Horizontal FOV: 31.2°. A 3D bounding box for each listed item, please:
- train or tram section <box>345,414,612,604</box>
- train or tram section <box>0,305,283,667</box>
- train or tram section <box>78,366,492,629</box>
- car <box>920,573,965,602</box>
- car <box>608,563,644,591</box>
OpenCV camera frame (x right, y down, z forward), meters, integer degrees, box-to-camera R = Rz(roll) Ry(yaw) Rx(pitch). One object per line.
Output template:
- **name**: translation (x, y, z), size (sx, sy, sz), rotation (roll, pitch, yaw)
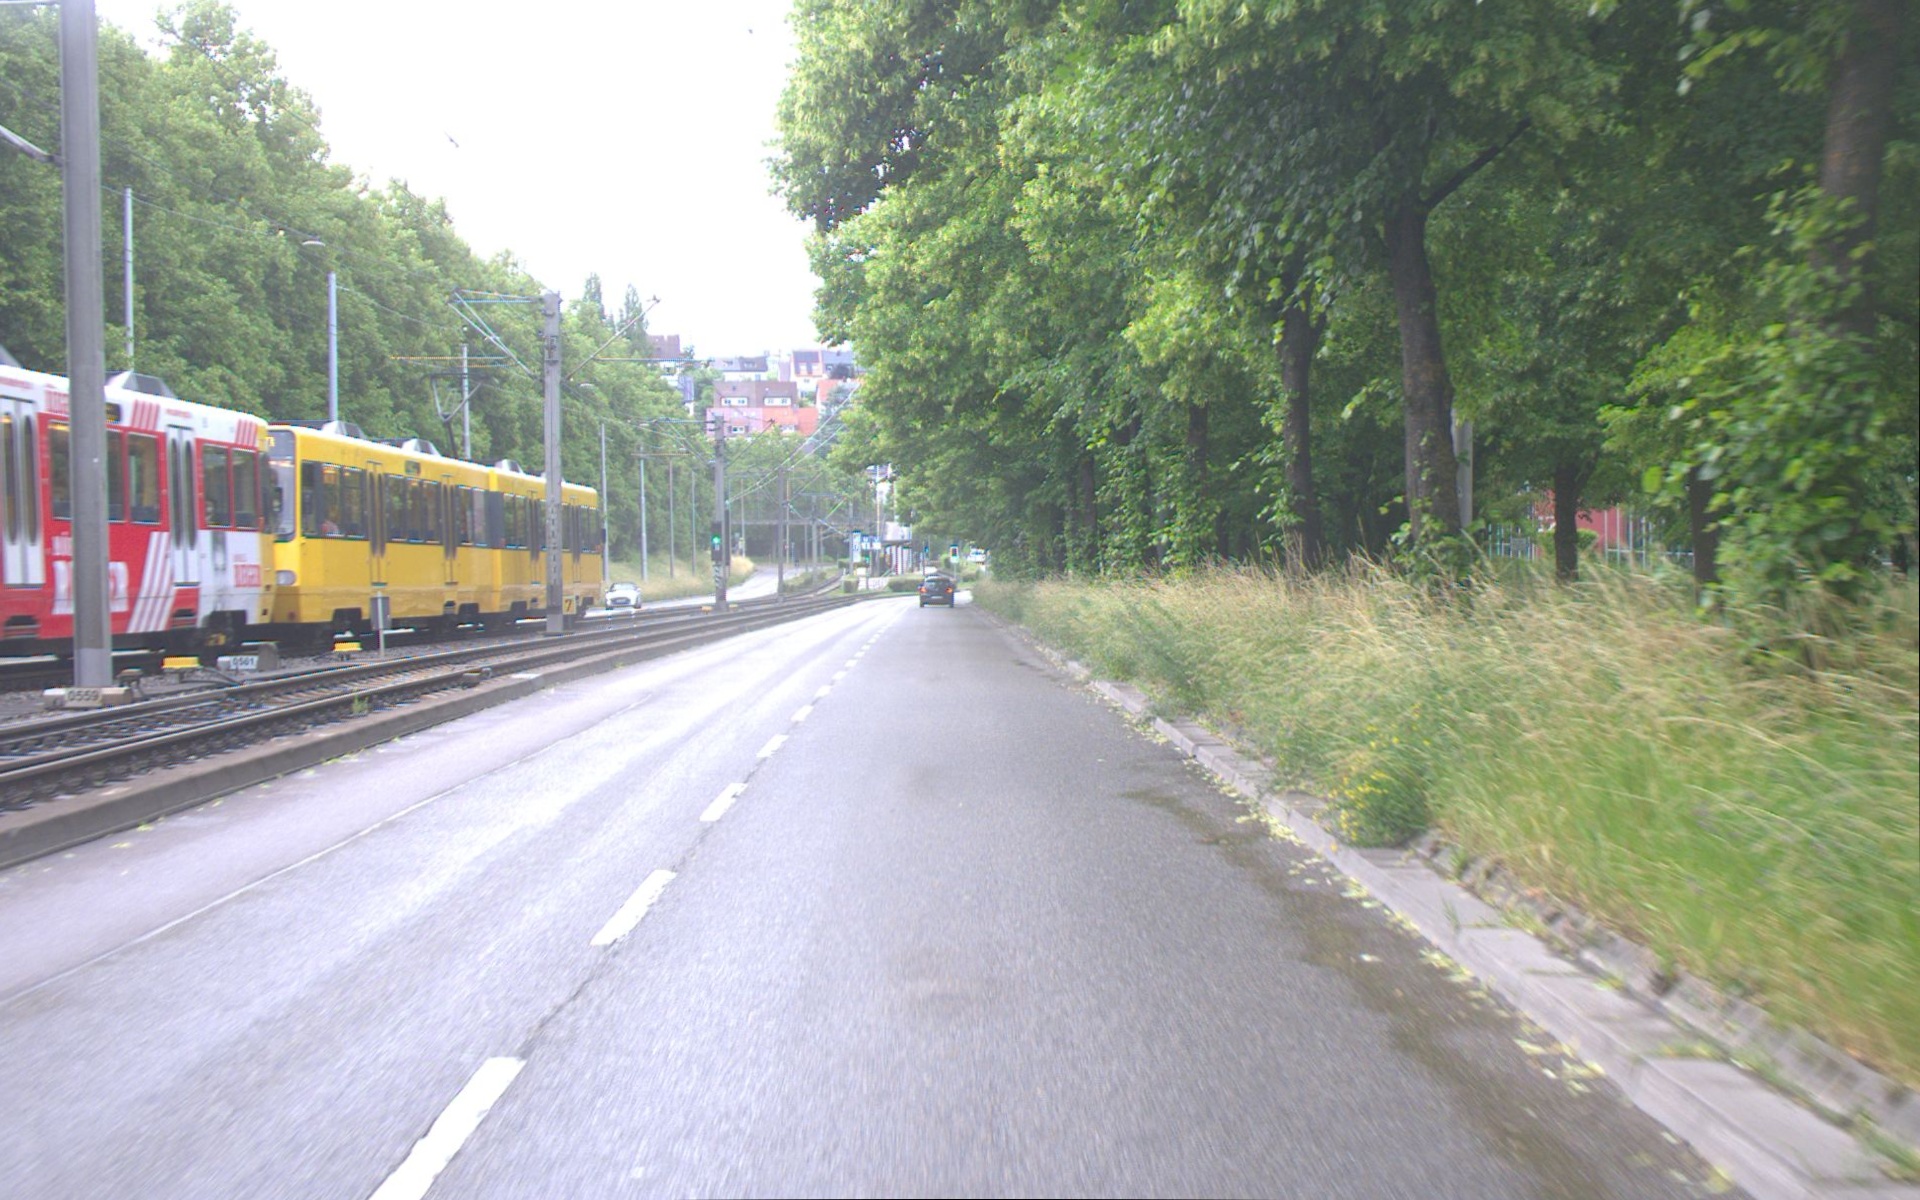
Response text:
- **train or tram section**: translation (-10.628, -2.015, 78.600), size (2.967, 3.798, 19.520), rotation (0, 1, 1)
- **train or tram section**: translation (-11.478, -1.279, 40.399), size (2.967, 3.798, 18.614), rotation (0, 1, 1)
- **train or tram section**: translation (-11.067, -1.661, 59.275), size (2.967, 3.798, 19.098), rotation (0, 1, 1)
- **car**: translation (-0.859, -0.627, 167.093), size (2.194, 1.325, 4.000), rotation (0, 1, -1)
- **car**: translation (-17.819, -1.239, 183.480), size (1.476, 1.431, 3.909), rotation (-2, 0, 0)
